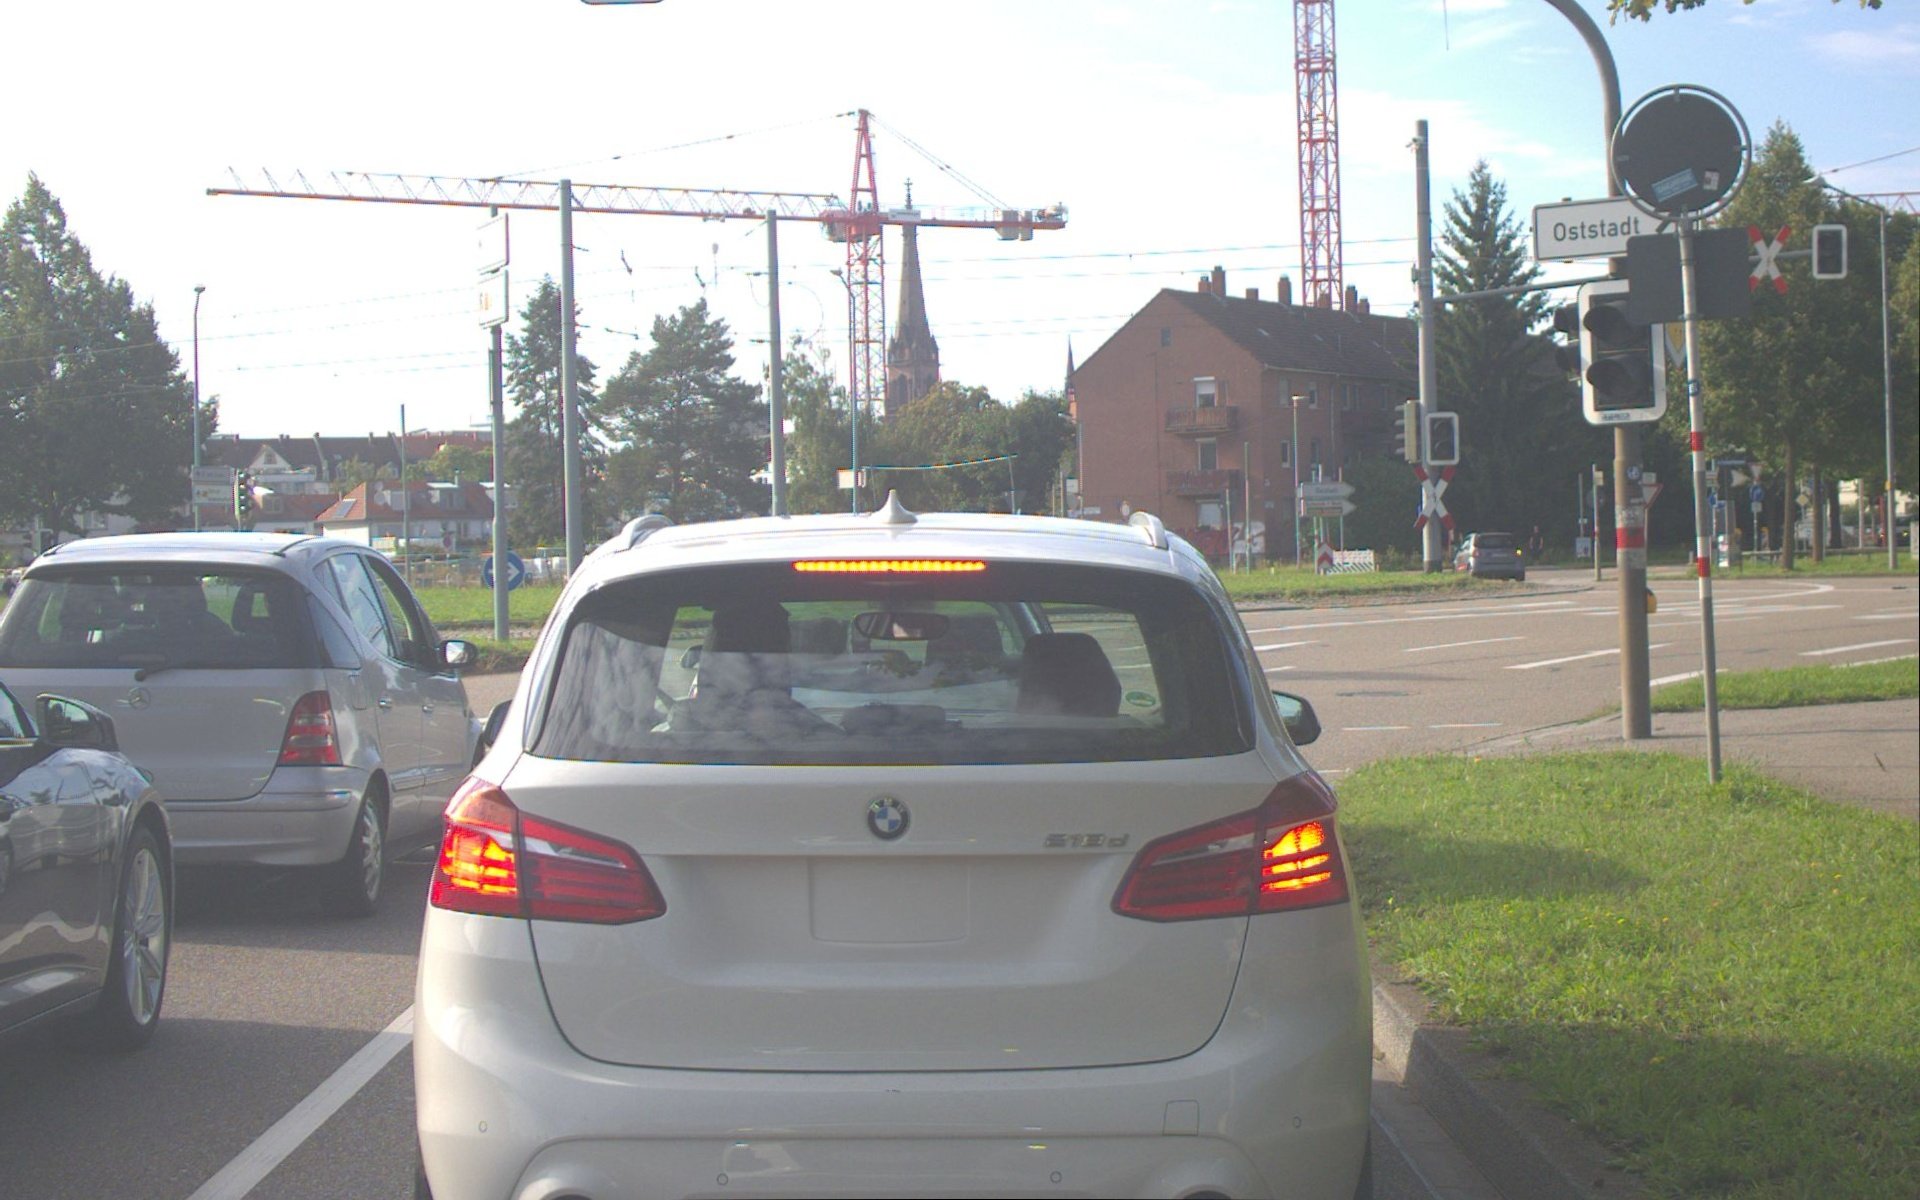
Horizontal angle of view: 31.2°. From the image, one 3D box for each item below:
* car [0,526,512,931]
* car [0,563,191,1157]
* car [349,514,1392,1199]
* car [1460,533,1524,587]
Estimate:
[{"bbox_3d":[-3.107,0.460,15.245,1.729,1.553,4.058,0,1,0],"label":"car"},{"bbox_3d":[-3.332,0.645,8.504,1.890,1.478,4.613,0,1,-1],"label":"car"},{"bbox_3d":[-0.177,0.600,7.741,1.729,1.553,4.058,0,1,-1],"label":"car"},{"bbox_3d":[15.872,-1.192,102.677,1.570,1.568,3.198,-1,1,3],"label":"car"}]
